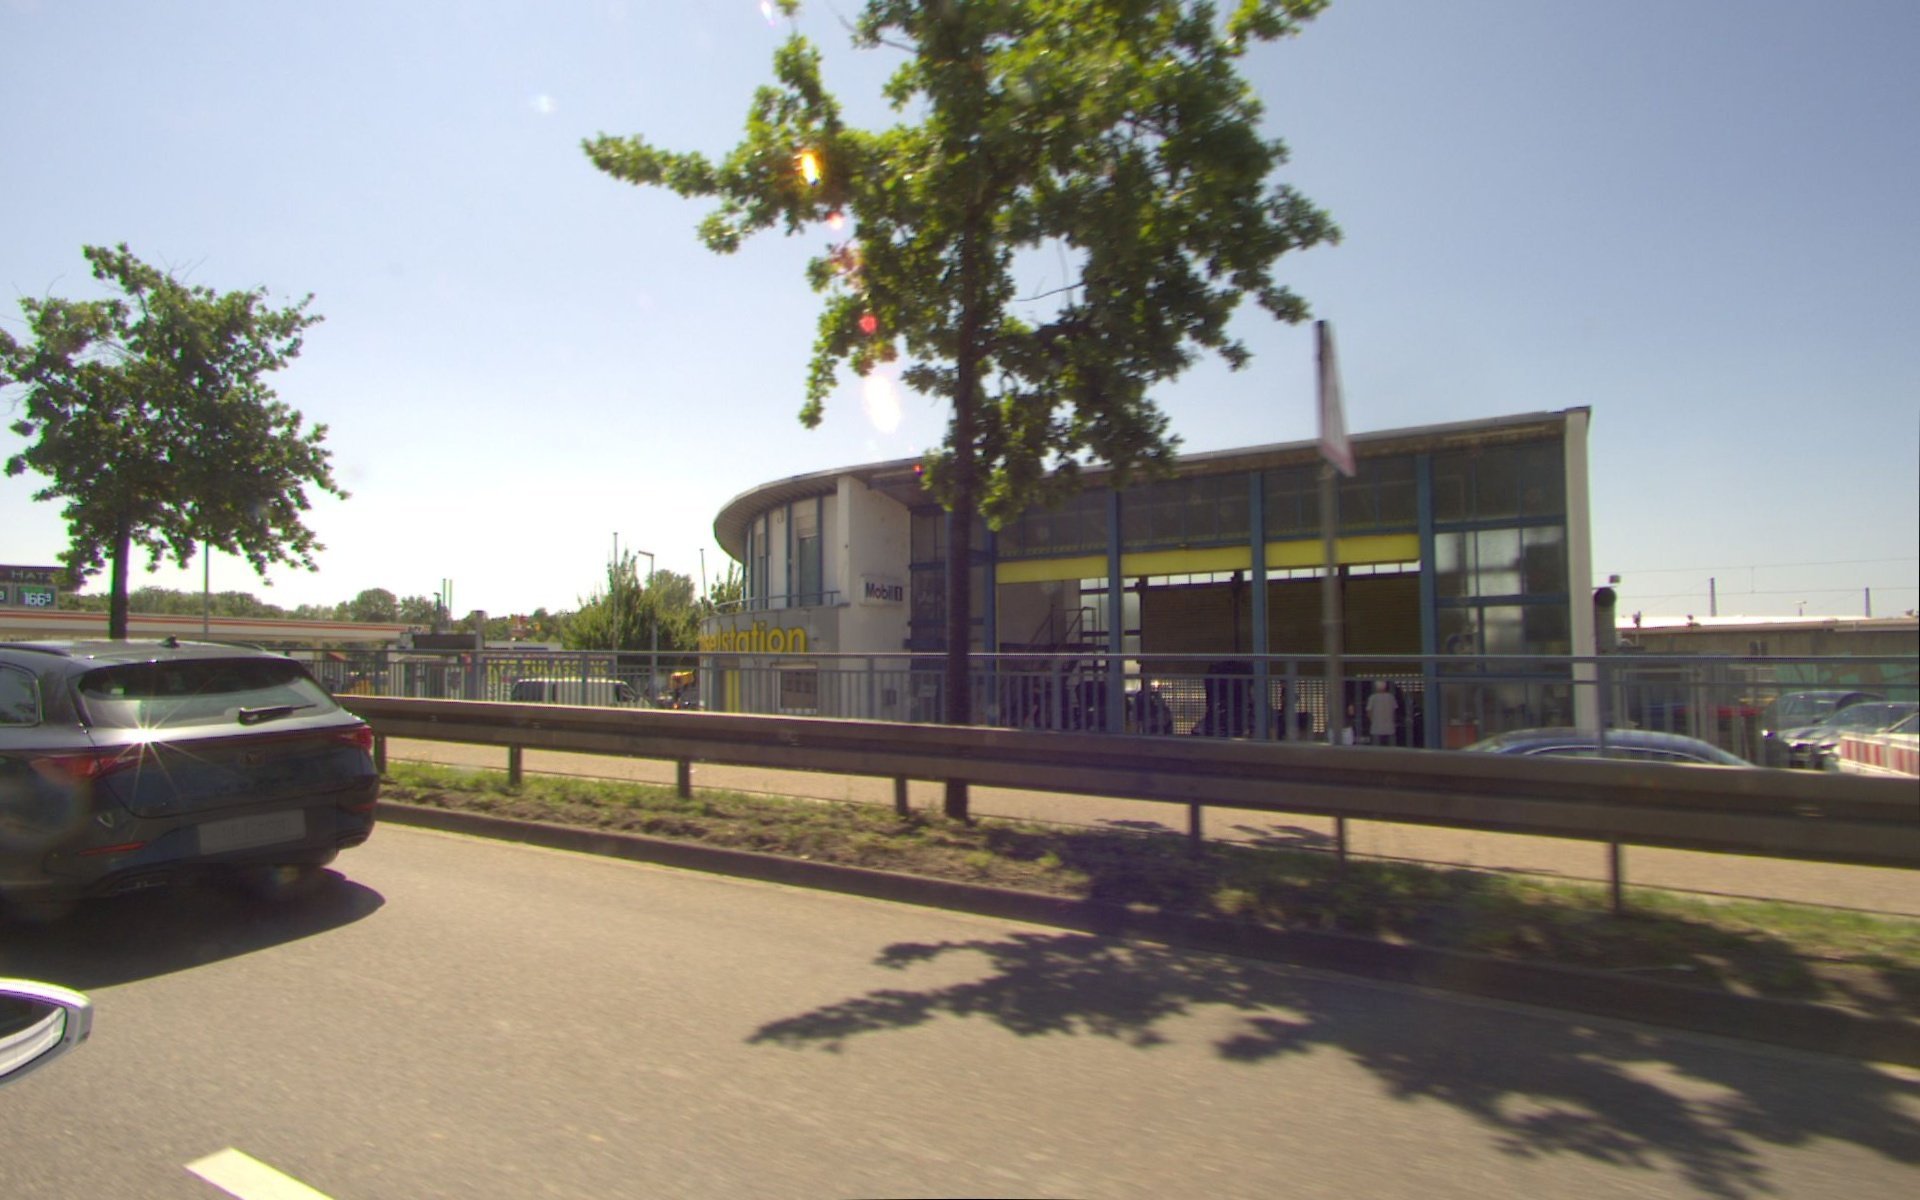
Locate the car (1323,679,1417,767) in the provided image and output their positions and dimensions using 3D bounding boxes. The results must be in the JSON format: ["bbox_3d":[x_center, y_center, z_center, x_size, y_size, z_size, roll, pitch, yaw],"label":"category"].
[{"bbox_3d":[9.313,2.689,22.605,1.625,1.705,3.667,-2,-3,27],"label":"car"}]

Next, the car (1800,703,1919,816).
[{"bbox_3d":[15.182,2.267,14.772,4.996,1.374,1.997,0,-3,-19],"label":"car"}]

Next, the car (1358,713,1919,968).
[{"bbox_3d":[5.565,1.828,8.458,3.846,1.551,1.630,-2,-3,33],"label":"car"}]

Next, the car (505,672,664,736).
[{"bbox_3d":[-11.234,3.082,30.313,1.573,1.680,4.591,-2,-3,30],"label":"car"}]

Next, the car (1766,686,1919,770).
[{"bbox_3d":[20.237,2.771,22.176,4.324,1.578,1.653,0,-3,-19],"label":"car"}]

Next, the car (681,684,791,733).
[{"bbox_3d":[-7.890,3.812,35.619,1.450,1.493,4.130,-2,-3,30],"label":"car"}]

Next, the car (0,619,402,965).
[{"bbox_3d":[-5.380,0.924,6.003,4.171,1.474,1.604,-2,-3,29],"label":"car"}]

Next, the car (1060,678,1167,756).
[{"bbox_3d":[3.975,2.898,25.480,1.625,1.705,3.668,-2,-3,27],"label":"car"}]

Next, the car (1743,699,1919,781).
[{"bbox_3d":[16.559,2.521,18.354,3.546,1.268,1.479,0,-3,-11],"label":"car"}]

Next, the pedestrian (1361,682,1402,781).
[{"bbox_3d":[7.578,2.356,18.010,0.581,1.724,0.425,-2,-2,31],"label":"pedestrian"}]

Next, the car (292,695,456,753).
[{"bbox_3d":[-14.795,3.116,25.402,3.254,1.325,1.465,0,-3,-7],"label":"car"}]

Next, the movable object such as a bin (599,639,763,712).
[{"bbox_3d":[-15.546,4.154,57.148,2.986,3.753,11.059,-2,-3,22],"label":"movable object such as a bin"}]

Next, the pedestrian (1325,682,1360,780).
[{"bbox_3d":[6.992,2.378,18.308,0.481,1.724,0.520,-2,-2,32],"label":"pedestrian"}]
